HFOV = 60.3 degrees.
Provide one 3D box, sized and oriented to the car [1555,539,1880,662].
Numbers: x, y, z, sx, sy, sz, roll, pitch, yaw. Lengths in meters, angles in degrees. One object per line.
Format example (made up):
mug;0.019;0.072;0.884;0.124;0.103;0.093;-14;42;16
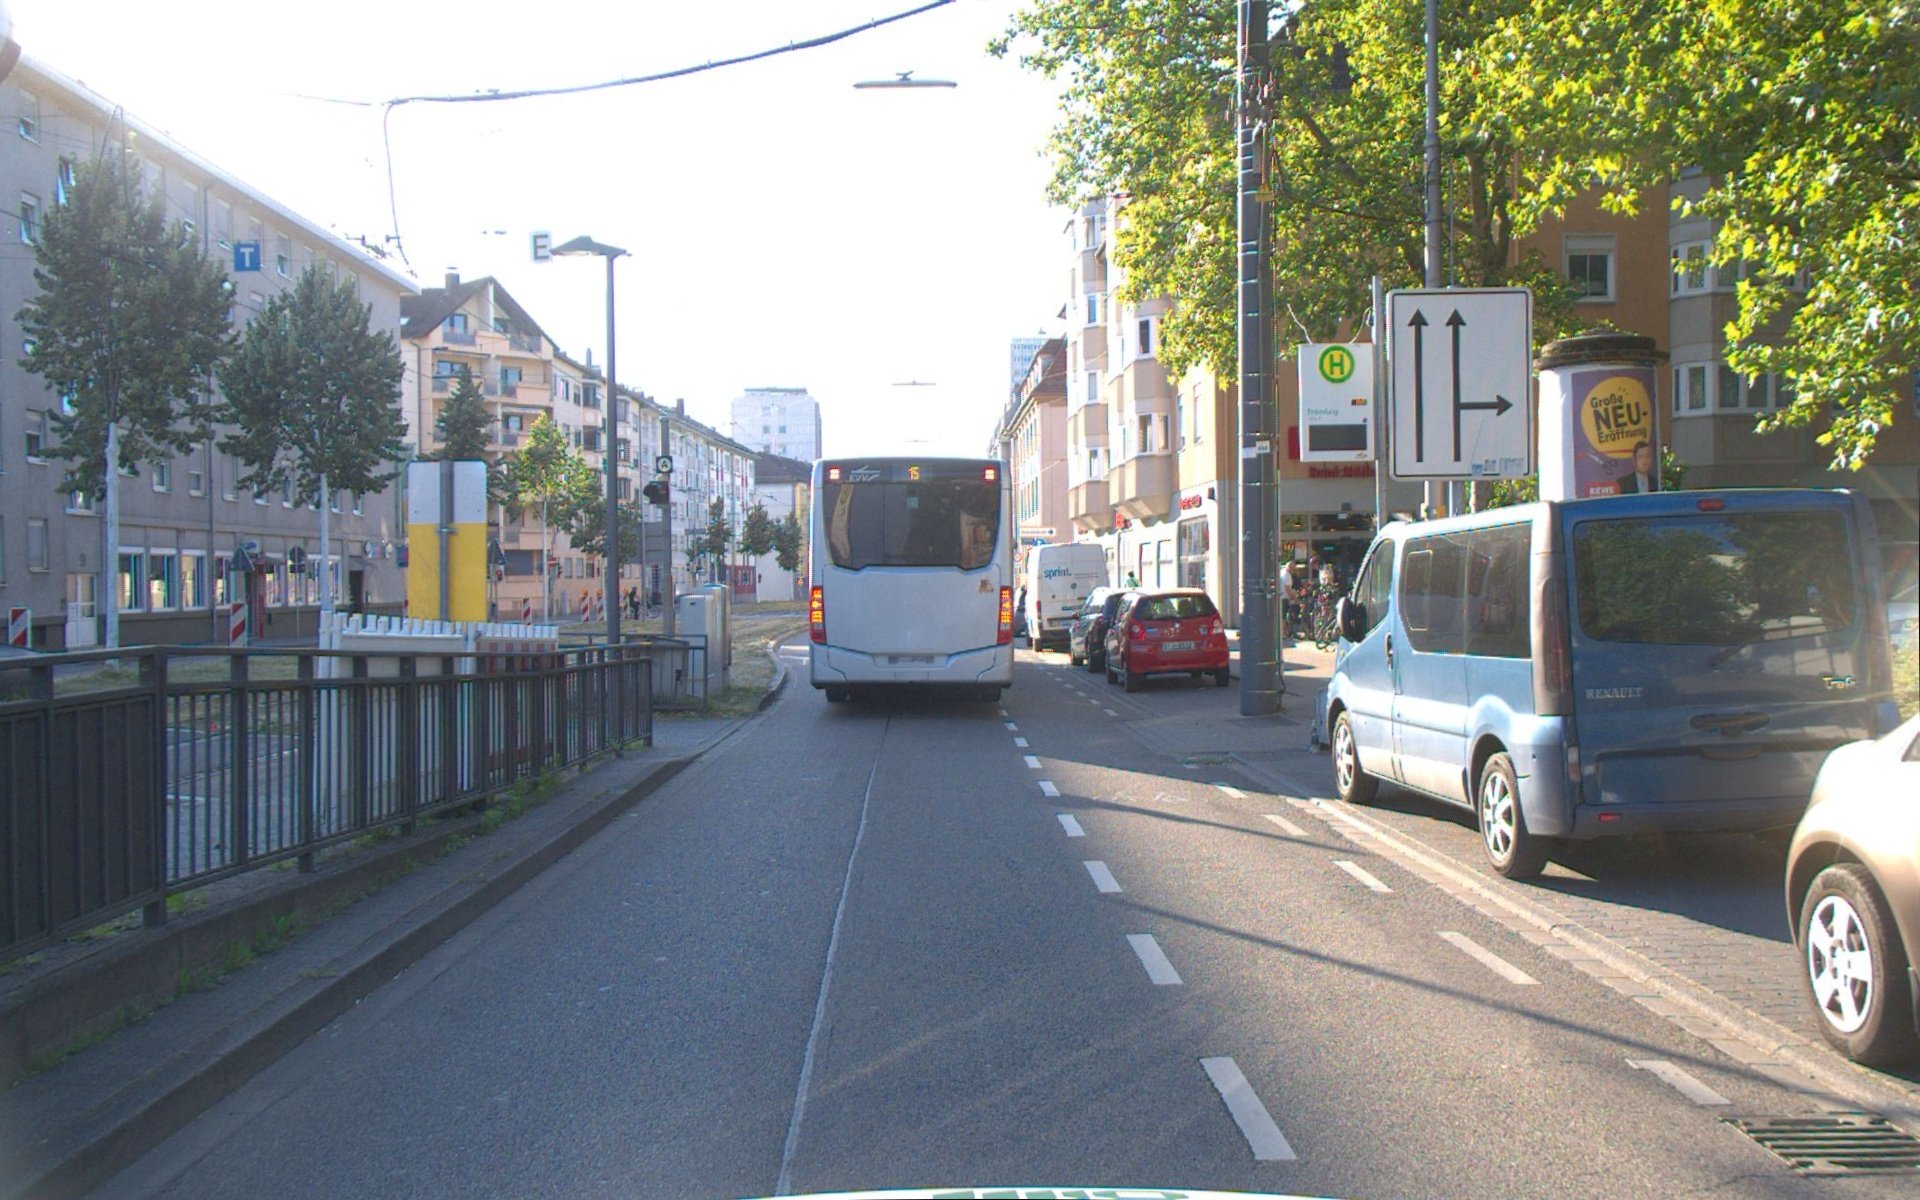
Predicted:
car;11.133;-0.002;24.484;3.941;1.628;1.855;2;0;-3

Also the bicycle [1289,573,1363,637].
bicycle;7.436;0.092;33.564;1.568;1.248;0.642;-2;1;-40

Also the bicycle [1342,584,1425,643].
bicycle;7.853;0.242;30.635;1.664;1.031;0.642;-2;1;-40

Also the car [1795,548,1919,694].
car;11.285;0.214;17.693;3.761;1.461;1.803;1;2;0

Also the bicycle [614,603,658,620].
bicycle;-15.383;0.555;78.447;2.027;0.745;0.760;-1;0;-13

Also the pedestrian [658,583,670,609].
pedestrian;-23.864;-0.337;133.446;0.871;2.049;0.788;-1;0;-7

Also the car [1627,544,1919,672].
car;11.084;0.110;21.860;3.761;1.521;1.856;2;0;0

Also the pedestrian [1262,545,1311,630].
pedestrian;7.172;-0.278;36.366;0.790;1.782;0.768;-4;1;-1

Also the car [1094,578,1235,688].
car;3.126;0.469;25.883;1.538;1.520;3.624;-3;1;-2

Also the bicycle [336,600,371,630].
bicycle;-23.788;0.570;64.884;0.731;1.134;1.778;-1;1;-1

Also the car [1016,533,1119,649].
car;2.659;-0.244;42.275;1.976;2.595;5.783;-4;1;-1

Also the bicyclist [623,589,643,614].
bicyclist;-15.521;0.060;78.418;0.916;1.181;0.642;-1;0;-12

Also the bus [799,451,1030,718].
bus;-0.615;-0.226;23.803;2.683;3.109;8.852;0;1;-1

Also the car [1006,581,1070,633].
car;2.482;0.189;53.579;1.801;1.563;4.229;-1;1;-1

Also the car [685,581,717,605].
car;-22.833;-0.590;145.943;1.952;2.049;4.002;-1;0;3

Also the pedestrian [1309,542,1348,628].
pedestrian;8.038;-0.335;36.074;0.518;1.812;0.649;-4;1;-9

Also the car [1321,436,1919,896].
car;3.656;0.284;10.002;1.846;2.114;4.562;-1;0;-1

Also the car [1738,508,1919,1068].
car;3.728;0.551;3.979;1.759;1.659;3.999;-1;0;-1

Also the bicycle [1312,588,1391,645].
bicycle;7.407;0.301;31.270;1.568;1.031;0.642;-2;1;-40

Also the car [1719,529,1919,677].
car;11.321;0.041;19.626;3.761;1.660;1.856;1;0;0

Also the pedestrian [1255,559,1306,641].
pedestrian;6.760;-0.011;34.910;0.647;1.664;0.988;-4;1;-9

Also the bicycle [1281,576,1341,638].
bicycle;7.285;0.131;34.314;1.507;1.248;0.397;-1;0;-42

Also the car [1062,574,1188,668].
car;3.074;0.363;31.691;1.663;1.557;4.650;-4;1;-3

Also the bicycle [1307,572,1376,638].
bicycle;7.510;0.091;32.508;0.636;1.248;1.574;-1;1;41

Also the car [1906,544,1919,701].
car;11.308;0.176;15.346;4.028;1.521;1.802;-1;0;0
